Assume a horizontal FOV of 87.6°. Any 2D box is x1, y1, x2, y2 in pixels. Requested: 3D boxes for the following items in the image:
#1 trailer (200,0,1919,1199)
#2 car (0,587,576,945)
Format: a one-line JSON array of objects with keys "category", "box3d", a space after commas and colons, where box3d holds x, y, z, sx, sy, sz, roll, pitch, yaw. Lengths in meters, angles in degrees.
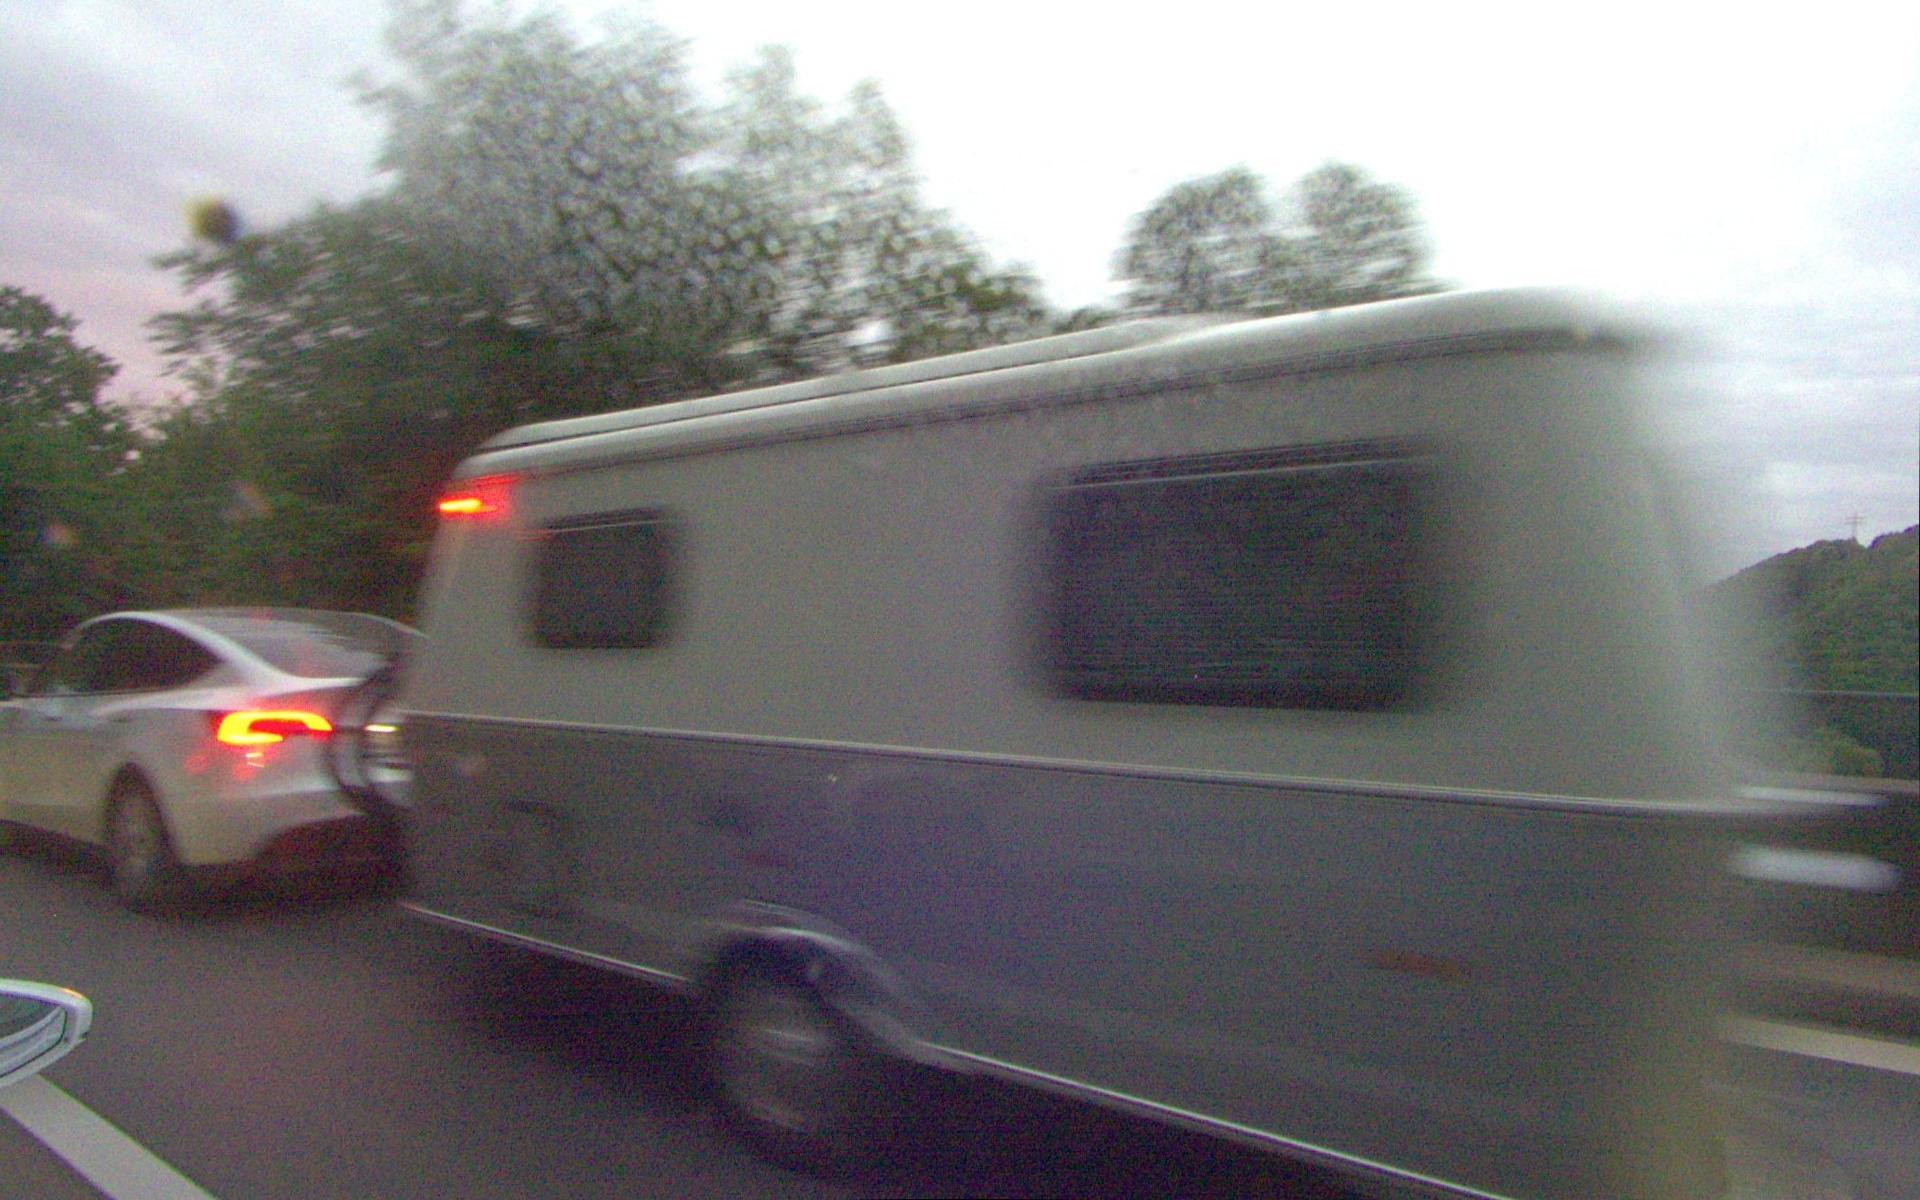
[{"category": "trailer", "box3d": [-0.377, 0.378, 3.750, 5.855, 2.404, 2.051, -1, -3, 33]}, {"category": "car", "box3d": [-4.955, 0.827, 6.738, 4.796, 1.635, 1.990, -1, -2, 33]}]
